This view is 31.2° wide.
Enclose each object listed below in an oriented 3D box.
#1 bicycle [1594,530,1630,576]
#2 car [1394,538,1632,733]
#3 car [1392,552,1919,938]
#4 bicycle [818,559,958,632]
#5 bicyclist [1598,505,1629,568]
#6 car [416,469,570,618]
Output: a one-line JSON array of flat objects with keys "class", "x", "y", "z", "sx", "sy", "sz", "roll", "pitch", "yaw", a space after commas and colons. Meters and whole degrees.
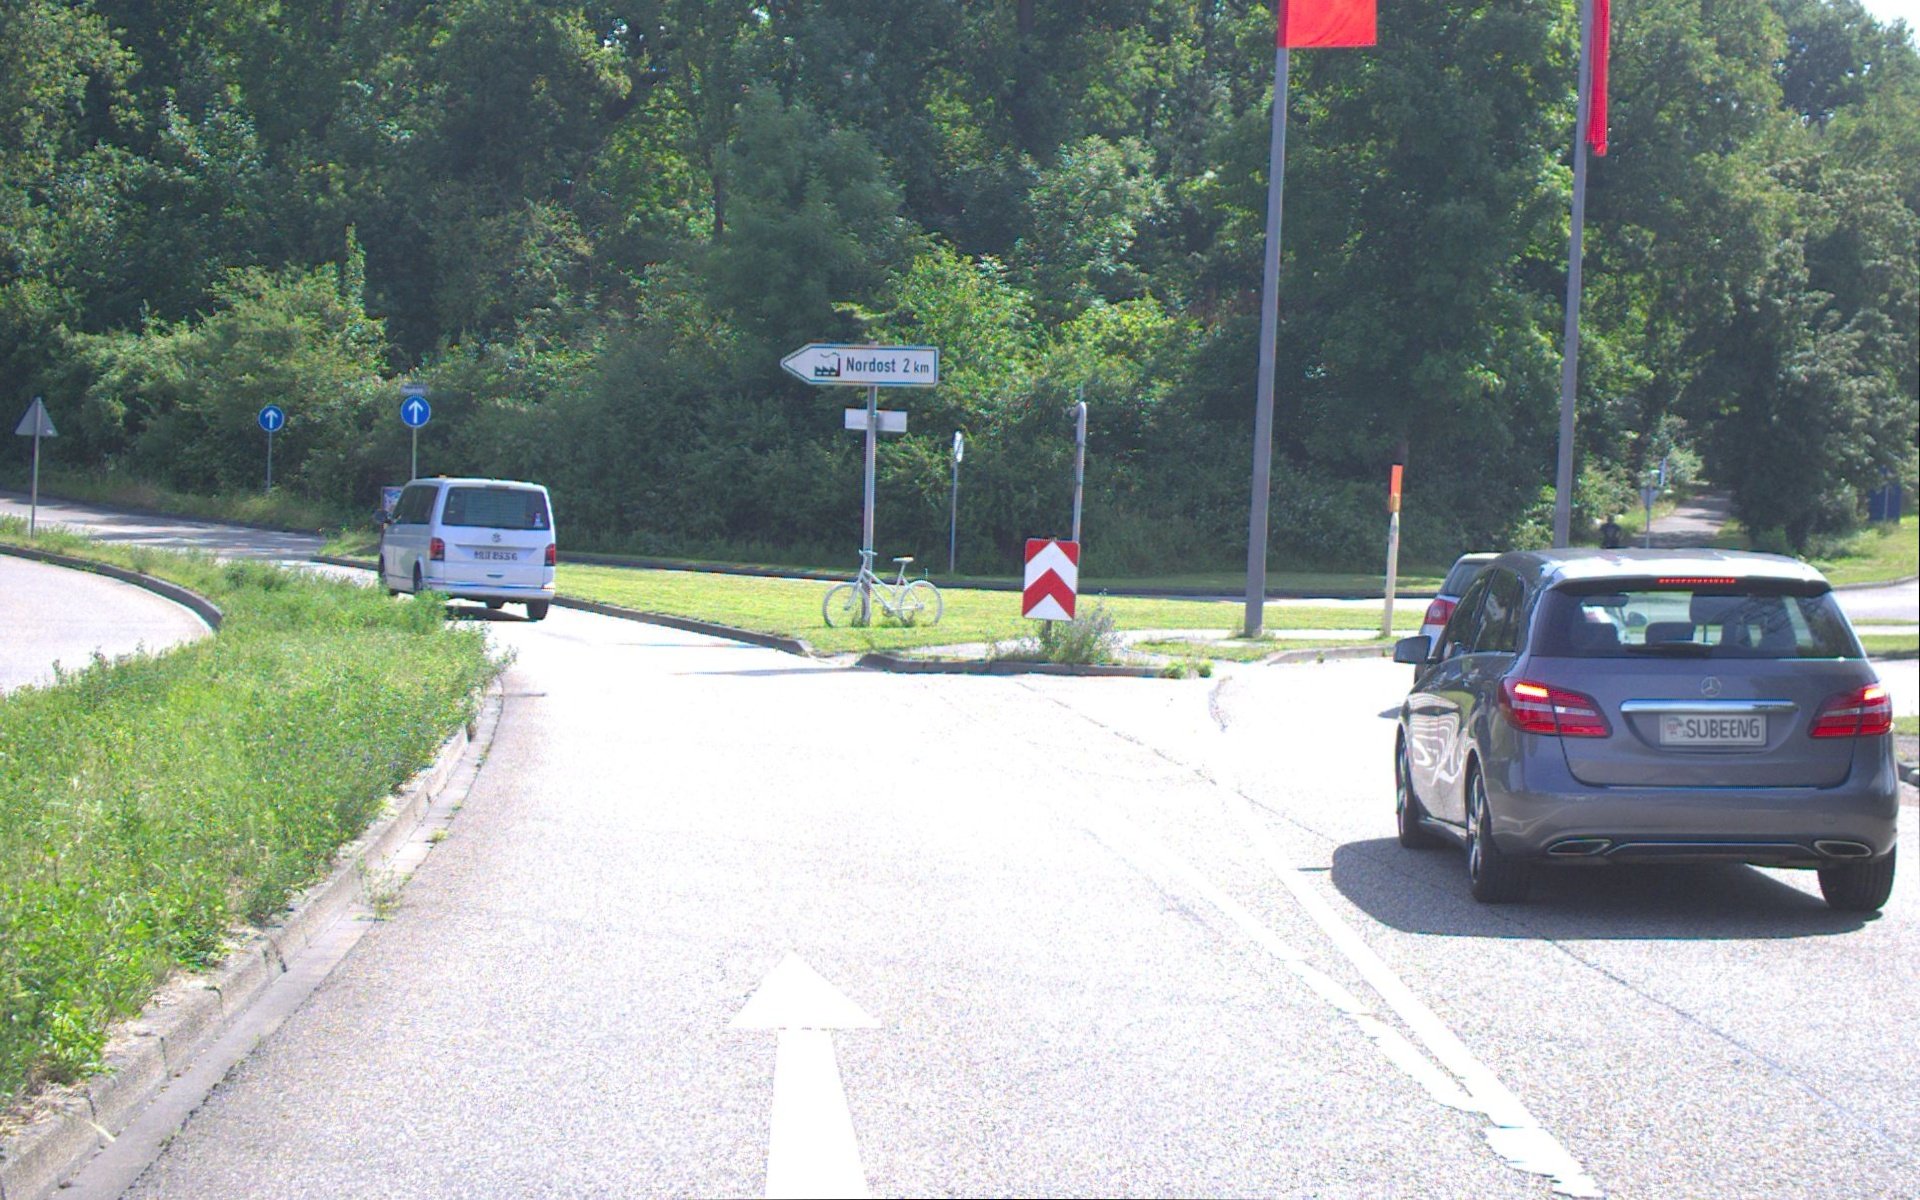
[{"class": "bicycle", "x": 16.517, "y": -1.200, "z": 87.032, "sx": 0.724, "sy": 0.974, "sz": 2.186, "roll": 4, "pitch": 5, "yaw": 13}, {"class": "car", "x": 4.996, "y": 0.264, "z": 31.520, "sx": 1.857, "sy": 1.524, "sz": 4.143, "roll": 4, "pitch": 2, "yaw": 6}, {"class": "car", "x": 3.135, "y": 0.553, "z": 15.868, "sx": 1.856, "sy": 1.524, "sz": 4.144, "roll": 1, "pitch": 1, "yaw": 2}, {"class": "bicycle", "x": -0.905, "y": -0.053, "z": 43.298, "sx": 1.783, "sy": 0.886, "sz": 0.271, "roll": 0, "pitch": 2, "yaw": -25}, {"class": "bicyclist", "x": 16.534, "y": -1.602, "z": 86.988, "sx": 0.675, "sy": 1.528, "sz": 0.846, "roll": 3, "pitch": 4, "yaw": 13}, {"class": "car", "x": -6.789, "y": -0.843, "z": 49.647, "sx": 2.038, "sy": 2.006, "sz": 4.001, "roll": 1, "pitch": 2, "yaw": -9}]
